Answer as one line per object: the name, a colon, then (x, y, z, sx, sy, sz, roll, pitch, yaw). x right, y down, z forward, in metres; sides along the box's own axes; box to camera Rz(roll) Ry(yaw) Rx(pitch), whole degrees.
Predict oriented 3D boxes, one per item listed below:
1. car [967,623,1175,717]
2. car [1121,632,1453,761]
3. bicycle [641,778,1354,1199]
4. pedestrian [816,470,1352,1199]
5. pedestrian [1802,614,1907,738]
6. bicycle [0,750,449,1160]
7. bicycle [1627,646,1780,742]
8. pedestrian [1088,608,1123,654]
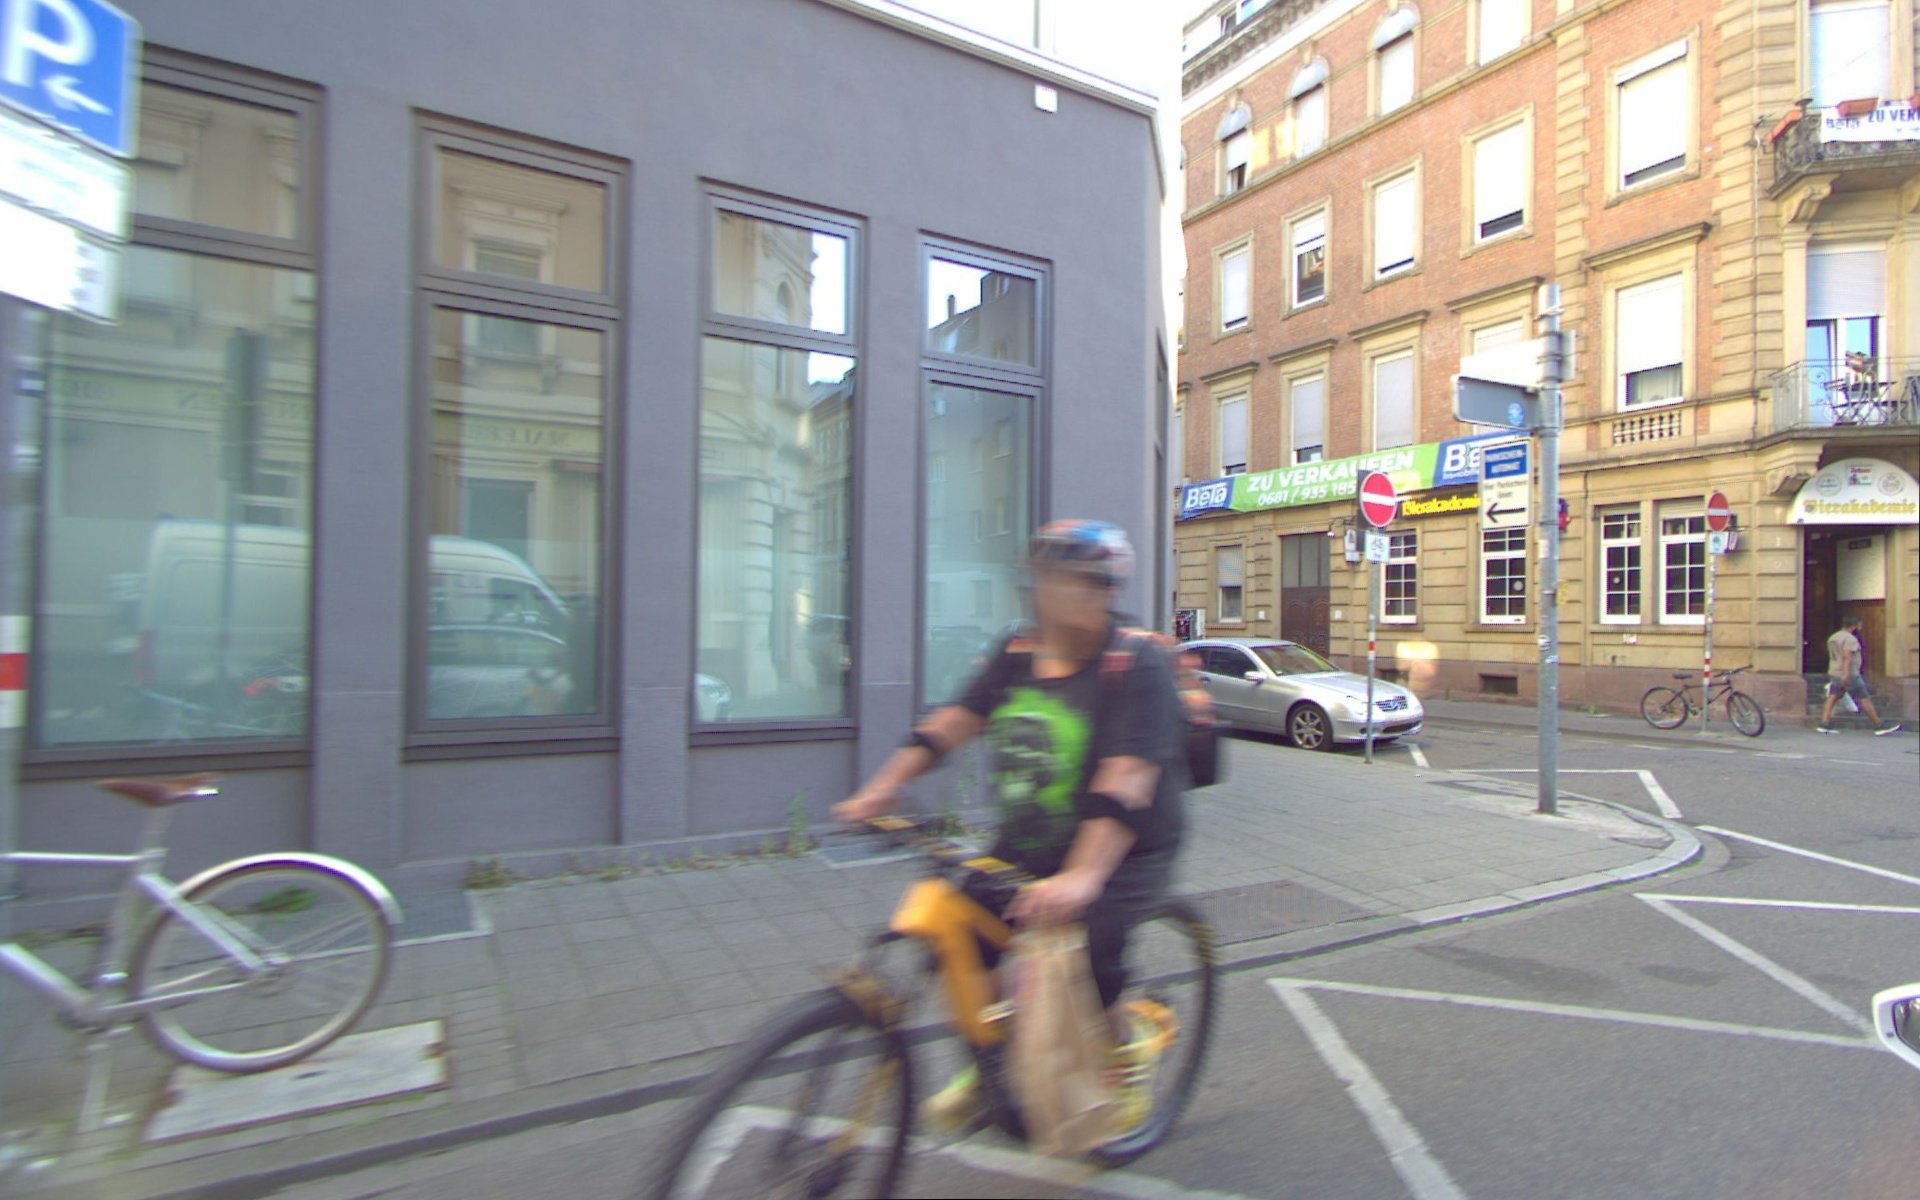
car: (1.993, 1.250, 19.227, 1.990, 1.545, 4.086, 1, -1, -29)
car: (4.391, 1.217, 14.220, 1.736, 1.420, 4.451, 0, -1, -31)
bicycle: (0.271, 1.072, 2.419, 0.532, 1.021, 1.969, 0, -1, 45)
pedestrian: (0.332, 0.564, 2.481, 0.821, 1.565, 1.076, 0, -1, 45)
pedestrian: (13.440, 1.111, 15.127, 0.999, 1.765, 0.982, 1, -1, 31)
bicycle: (-2.406, 0.970, 2.909, 1.624, 0.917, 0.593, 1, -1, -29)
bicycle: (11.255, 1.384, 15.268, 0.653, 1.292, 1.747, -2, 1, -33)
pedestrian: (4.373, 0.939, 30.250, 0.823, 1.357, 0.804, 1, -1, -9)
